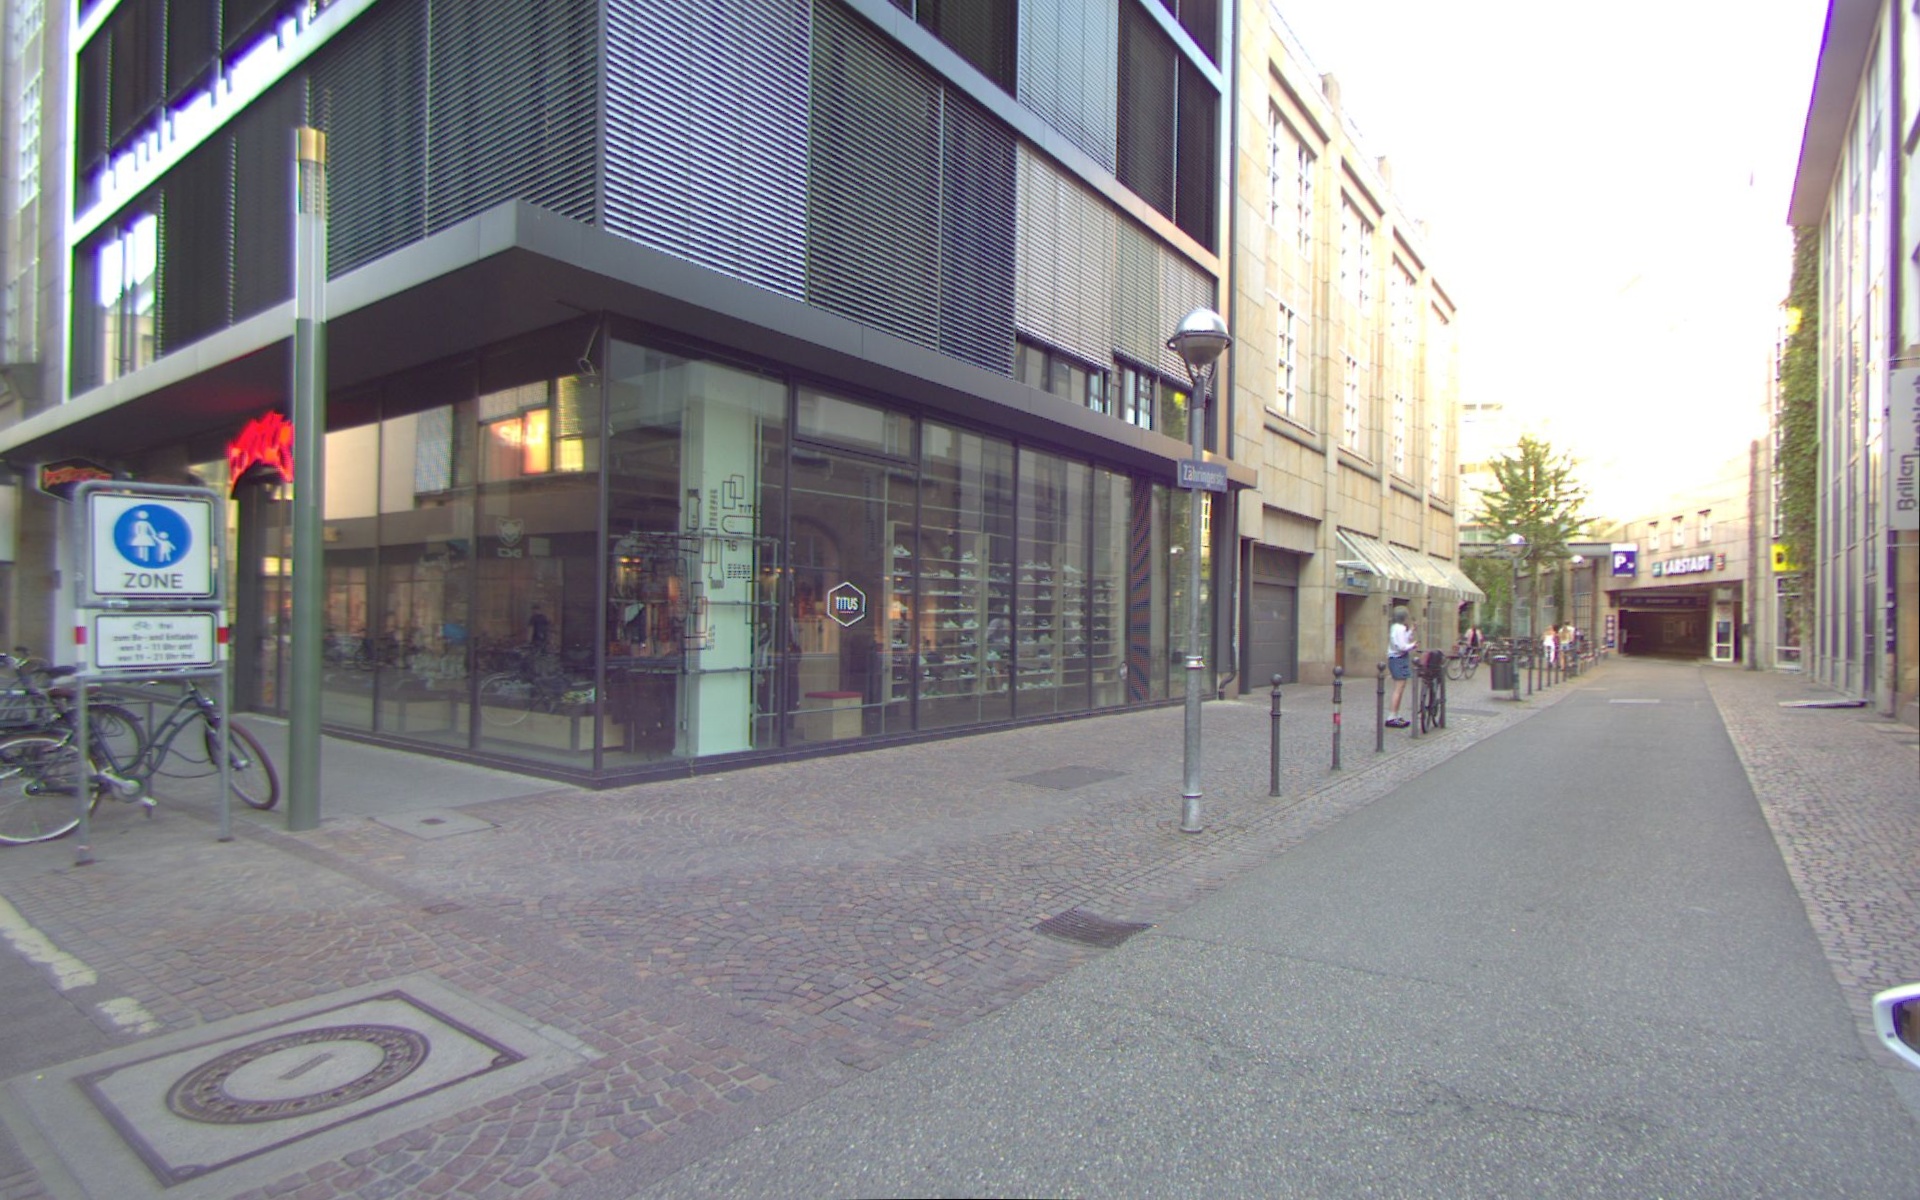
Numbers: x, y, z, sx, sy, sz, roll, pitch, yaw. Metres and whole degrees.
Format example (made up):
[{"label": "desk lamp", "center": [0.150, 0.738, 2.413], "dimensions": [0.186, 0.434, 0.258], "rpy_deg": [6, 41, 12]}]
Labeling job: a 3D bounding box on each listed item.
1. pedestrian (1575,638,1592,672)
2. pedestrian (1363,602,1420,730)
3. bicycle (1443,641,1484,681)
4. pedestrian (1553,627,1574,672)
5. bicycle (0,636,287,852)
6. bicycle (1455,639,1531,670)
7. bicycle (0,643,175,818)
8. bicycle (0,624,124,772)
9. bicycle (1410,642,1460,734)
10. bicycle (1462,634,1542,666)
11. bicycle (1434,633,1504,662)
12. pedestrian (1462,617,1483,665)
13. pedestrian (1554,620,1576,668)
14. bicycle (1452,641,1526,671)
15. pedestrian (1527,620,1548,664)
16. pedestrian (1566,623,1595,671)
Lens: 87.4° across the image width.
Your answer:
[{"label": "pedestrian", "center": [22.628, 1.986, 36.471], "dimensions": [0.460, 1.183, 0.519], "rpy_deg": [1, -1, 37]}, {"label": "pedestrian", "center": [6.376, 0.945, 14.826], "dimensions": [0.601, 1.814, 0.907], "rpy_deg": [0, -1, 35]}, {"label": "bicycle", "center": [14.770, 1.759, 29.425], "dimensions": [0.475, 1.095, 2.230], "rpy_deg": [0, -1, 42]}, {"label": "pedestrian", "center": [22.360, 1.829, 37.236], "dimensions": [0.577, 1.625, 0.625], "rpy_deg": [1, -1, 37]}, {"label": "bicycle", "center": [-5.547, 0.891, 6.715], "dimensions": [0.501, 1.220, 1.665], "rpy_deg": [0, 1, 36]}, {"label": "bicycle", "center": [22.176, 2.244, 41.872], "dimensions": [2.711, 1.216, 0.734], "rpy_deg": [0, -1, 18]}, {"label": "bicycle", "center": [-7.001, 0.954, 7.371], "dimensions": [0.509, 1.197, 1.897], "rpy_deg": [0, 0, 36]}, {"label": "bicycle", "center": [-8.955, 0.914, 9.197], "dimensions": [0.530, 1.286, 1.896], "rpy_deg": [0, 2, 37]}, {"label": "bicycle", "center": [6.999, 1.253, 14.761], "dimensions": [0.406, 1.248, 1.822], "rpy_deg": [0, -1, 34]}, {"label": "bicycle", "center": [21.732, 1.991, 40.318], "dimensions": [2.711, 1.216, 0.734], "rpy_deg": [0, -1, 18]}, {"label": "bicycle", "center": [22.743, 2.102, 44.950], "dimensions": [2.711, 1.216, 0.734], "rpy_deg": [0, -1, 18]}, {"label": "pedestrian", "center": [19.506, 1.555, 38.252], "dimensions": [0.645, 1.787, 0.616], "rpy_deg": [0, -1, 23]}, {"label": "pedestrian", "center": [22.708, 1.654, 37.702], "dimensions": [0.622, 1.780, 0.796], "rpy_deg": [1, -1, 37]}, {"label": "bicycle", "center": [22.475, 2.364, 42.726], "dimensions": [2.711, 1.216, 0.734], "rpy_deg": [0, -1, 18]}, {"label": "pedestrian", "center": [21.851, 1.583, 38.003], "dimensions": [0.582, 1.625, 0.663], "rpy_deg": [1, -1, 37]}, {"label": "pedestrian", "center": [23.453, 1.767, 37.977], "dimensions": [0.853, 1.780, 0.796], "rpy_deg": [1, -1, 37]}]
